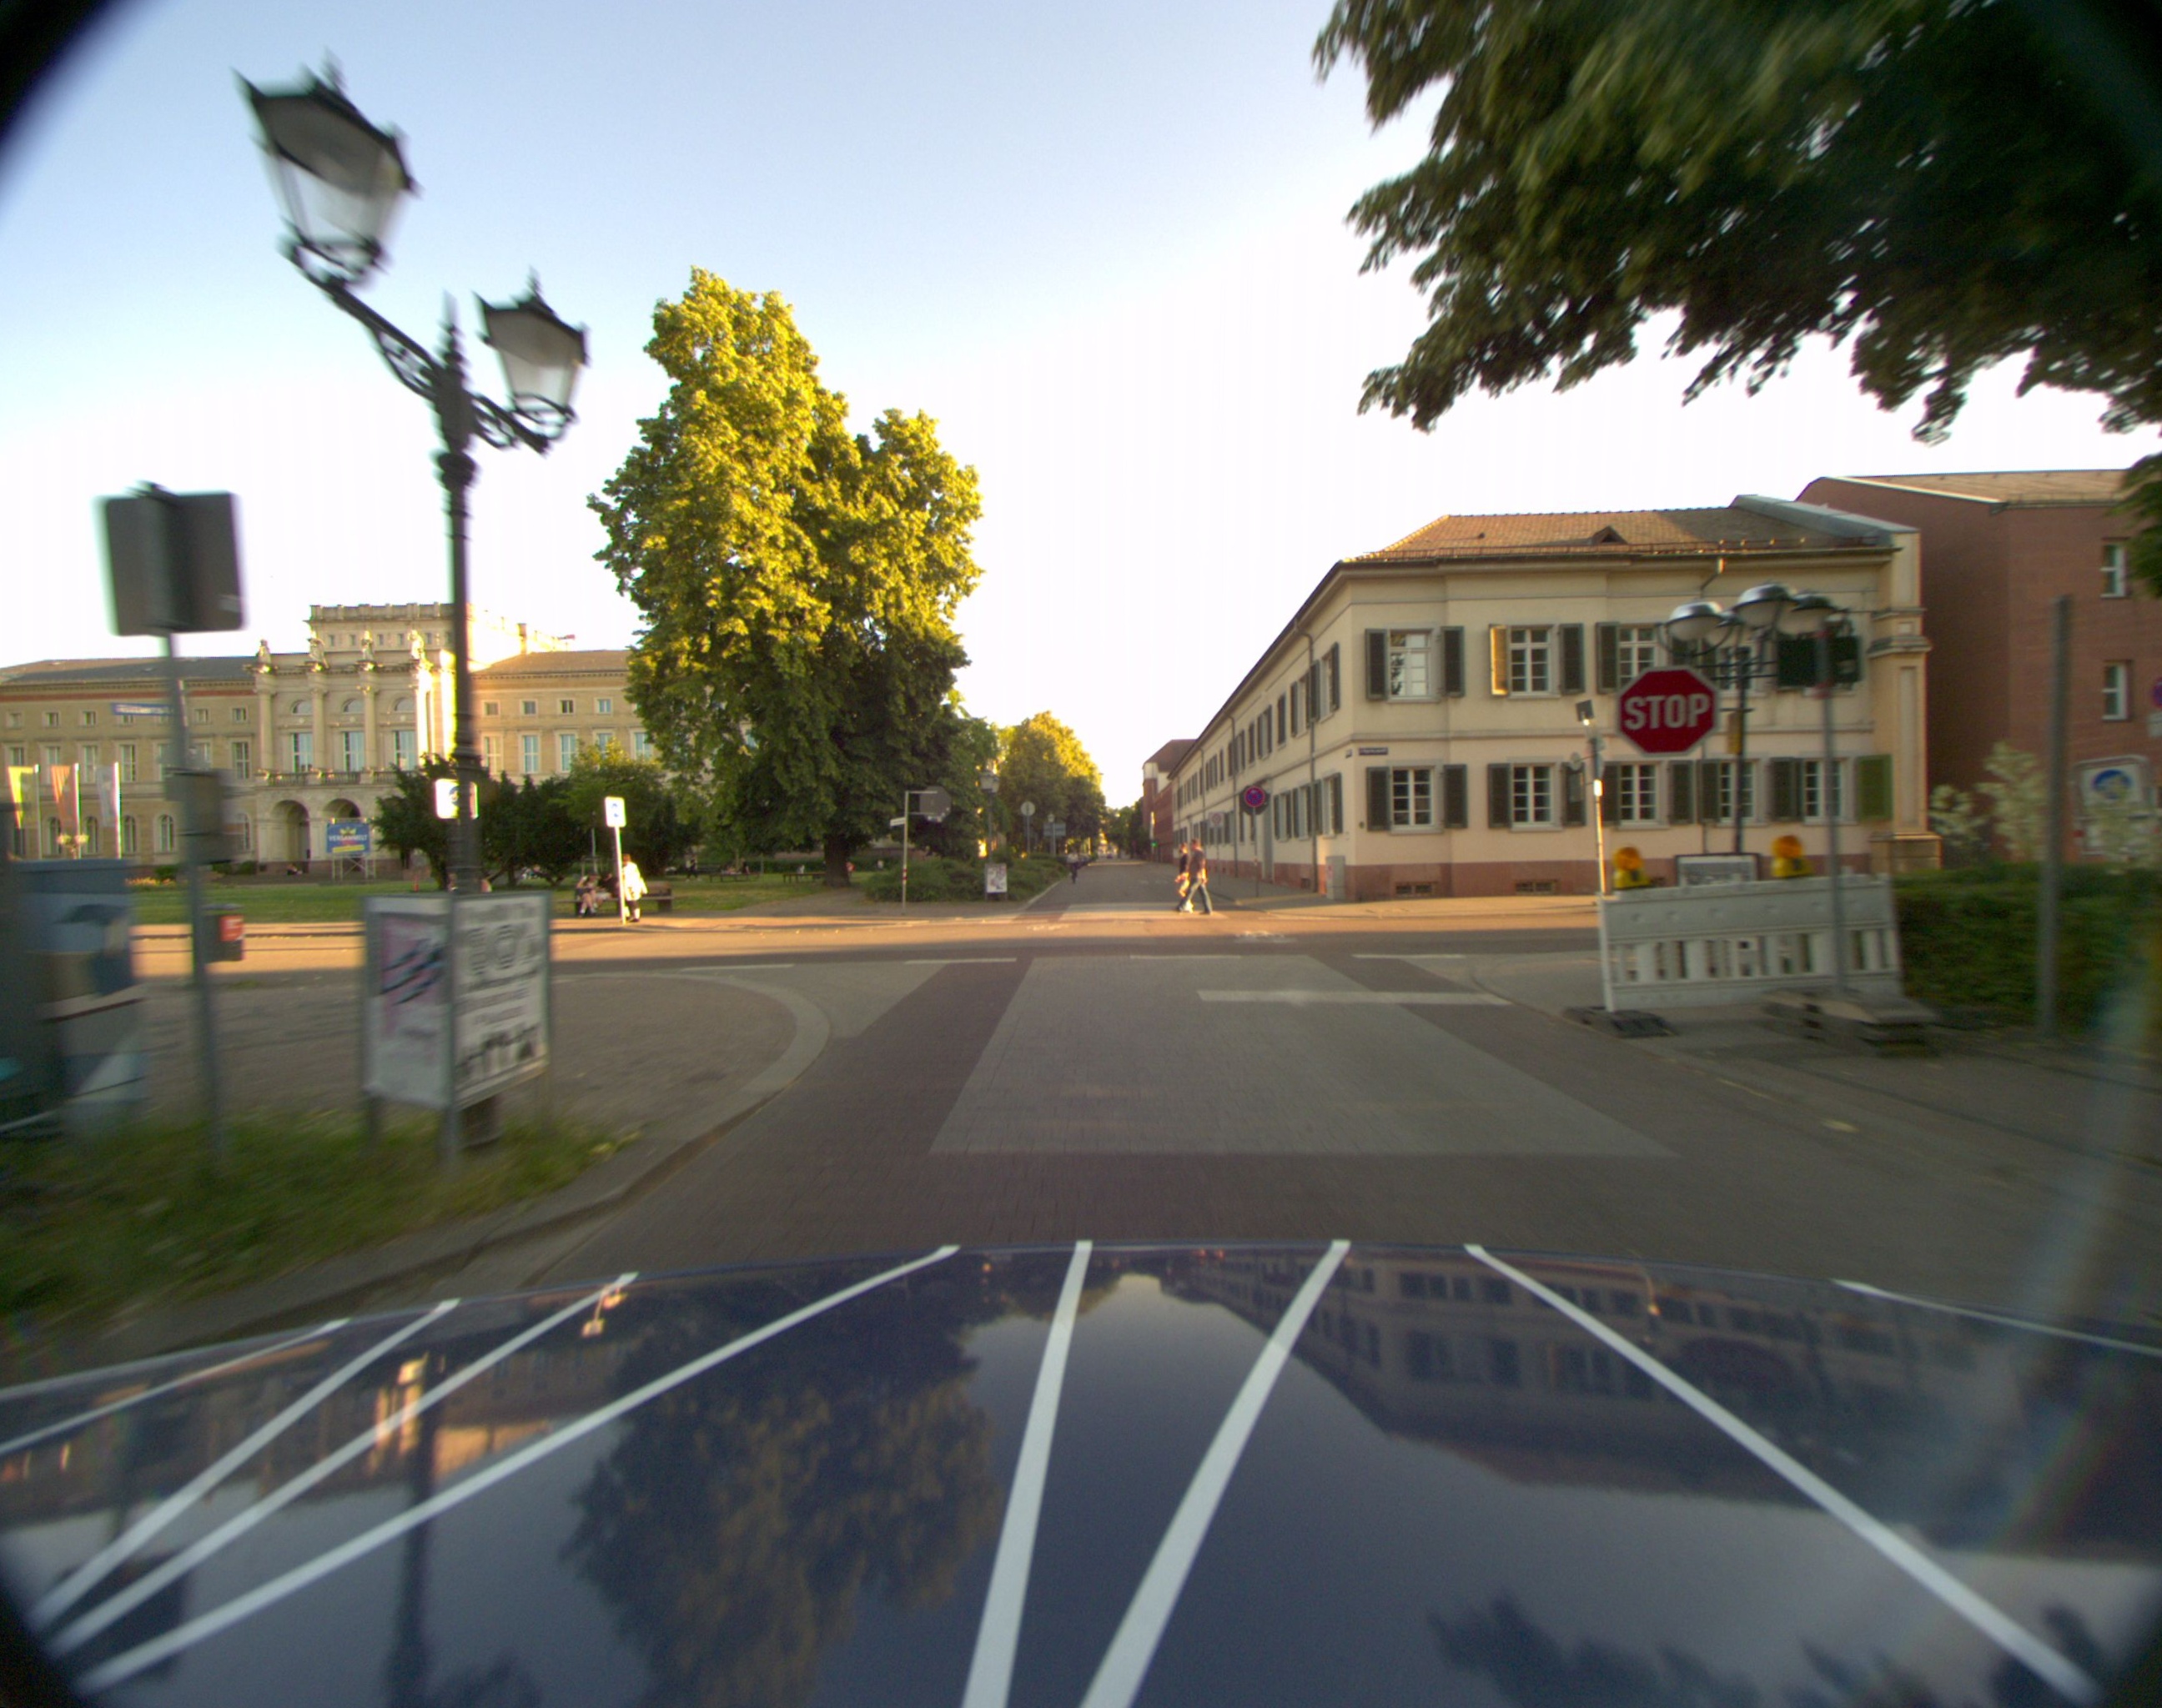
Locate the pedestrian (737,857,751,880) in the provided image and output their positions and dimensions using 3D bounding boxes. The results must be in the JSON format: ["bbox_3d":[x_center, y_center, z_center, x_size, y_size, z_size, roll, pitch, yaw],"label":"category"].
[{"bbox_3d":[-18.138,0.762,40.905,0.605,1.195,0.394,-2,1,-39],"label":"pedestrian"}]

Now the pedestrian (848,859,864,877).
[{"bbox_3d":[-12.772,0.792,43.148,0.798,1.044,0.394,-1,1,-34],"label":"pedestrian"}]

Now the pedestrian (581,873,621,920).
[{"bbox_3d":[-12.580,1.107,19.941,0.608,1.197,0.666,-1,1,-4],"label":"pedestrian"}]

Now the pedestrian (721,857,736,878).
[{"bbox_3d":[-18.843,0.729,40.599,0.605,1.102,0.394,-2,1,-43],"label":"pedestrian"}]

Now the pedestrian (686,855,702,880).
[{"bbox_3d":[-23.139,0.790,45.422,0.754,1.435,0.816,-1,1,-33],"label":"pedestrian"}]

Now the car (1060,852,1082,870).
[{"bbox_3d":[-0.860,0.632,70.336,1.815,1.584,4.001,-1,-1,2],"label":"car"}]

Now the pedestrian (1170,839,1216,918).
[{"bbox_3d":[2.580,0.561,17.622,0.941,1.777,0.762,-1,1,0],"label":"pedestrian"}]

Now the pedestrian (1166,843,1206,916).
[{"bbox_3d":[2.551,0.604,18.558,0.858,1.730,0.649,-1,1,0],"label":"pedestrian"}]

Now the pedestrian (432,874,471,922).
[{"bbox_3d":[-16.554,1.151,19.984,0.500,1.207,0.592,-1,1,-4],"label":"pedestrian"}]

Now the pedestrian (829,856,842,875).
[{"bbox_3d":[-13.790,0.646,42.749,0.605,1.044,0.394,-1,1,-31],"label":"pedestrian"}]

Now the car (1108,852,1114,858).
[{"bbox_3d":[9.924,0.386,248.599,1.998,2.001,4.001,-1,-1,2],"label":"car"}]

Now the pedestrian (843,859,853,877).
[{"bbox_3d":[-13.363,0.804,43.520,0.396,1.044,0.602,-1,1,-29],"label":"pedestrian"}]

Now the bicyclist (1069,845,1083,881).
[{"bbox_3d":[-0.266,0.451,39.361,0.672,1.793,1.060,-1,1,-1],"label":"bicyclist"}]

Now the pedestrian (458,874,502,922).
[{"bbox_3d":[-15.830,1.157,20.030,0.608,1.207,0.666,-1,1,-4],"label":"pedestrian"}]

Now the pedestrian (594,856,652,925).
[{"bbox_3d":[-10.977,0.859,18.225,0.858,1.617,0.757,-1,1,9],"label":"pedestrian"}]

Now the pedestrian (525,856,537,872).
[{"bbox_3d":[-43.222,0.789,59.684,0.500,1.281,0.592,-1,1,-4],"label":"pedestrian"}]

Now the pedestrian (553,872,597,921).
[{"bbox_3d":[-13.136,1.091,19.749,0.528,1.197,0.970,-1,1,-4],"label":"pedestrian"}]

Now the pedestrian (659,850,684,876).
[{"bbox_3d":[-32.233,0.741,59.816,1.395,2.001,0.982,-1,0,-1],"label":"pedestrian"}]

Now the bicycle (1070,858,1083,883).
[{"bbox_3d":[-0.257,0.839,39.278,0.653,1.175,2.344,-1,1,-1],"label":"bicycle"}]
